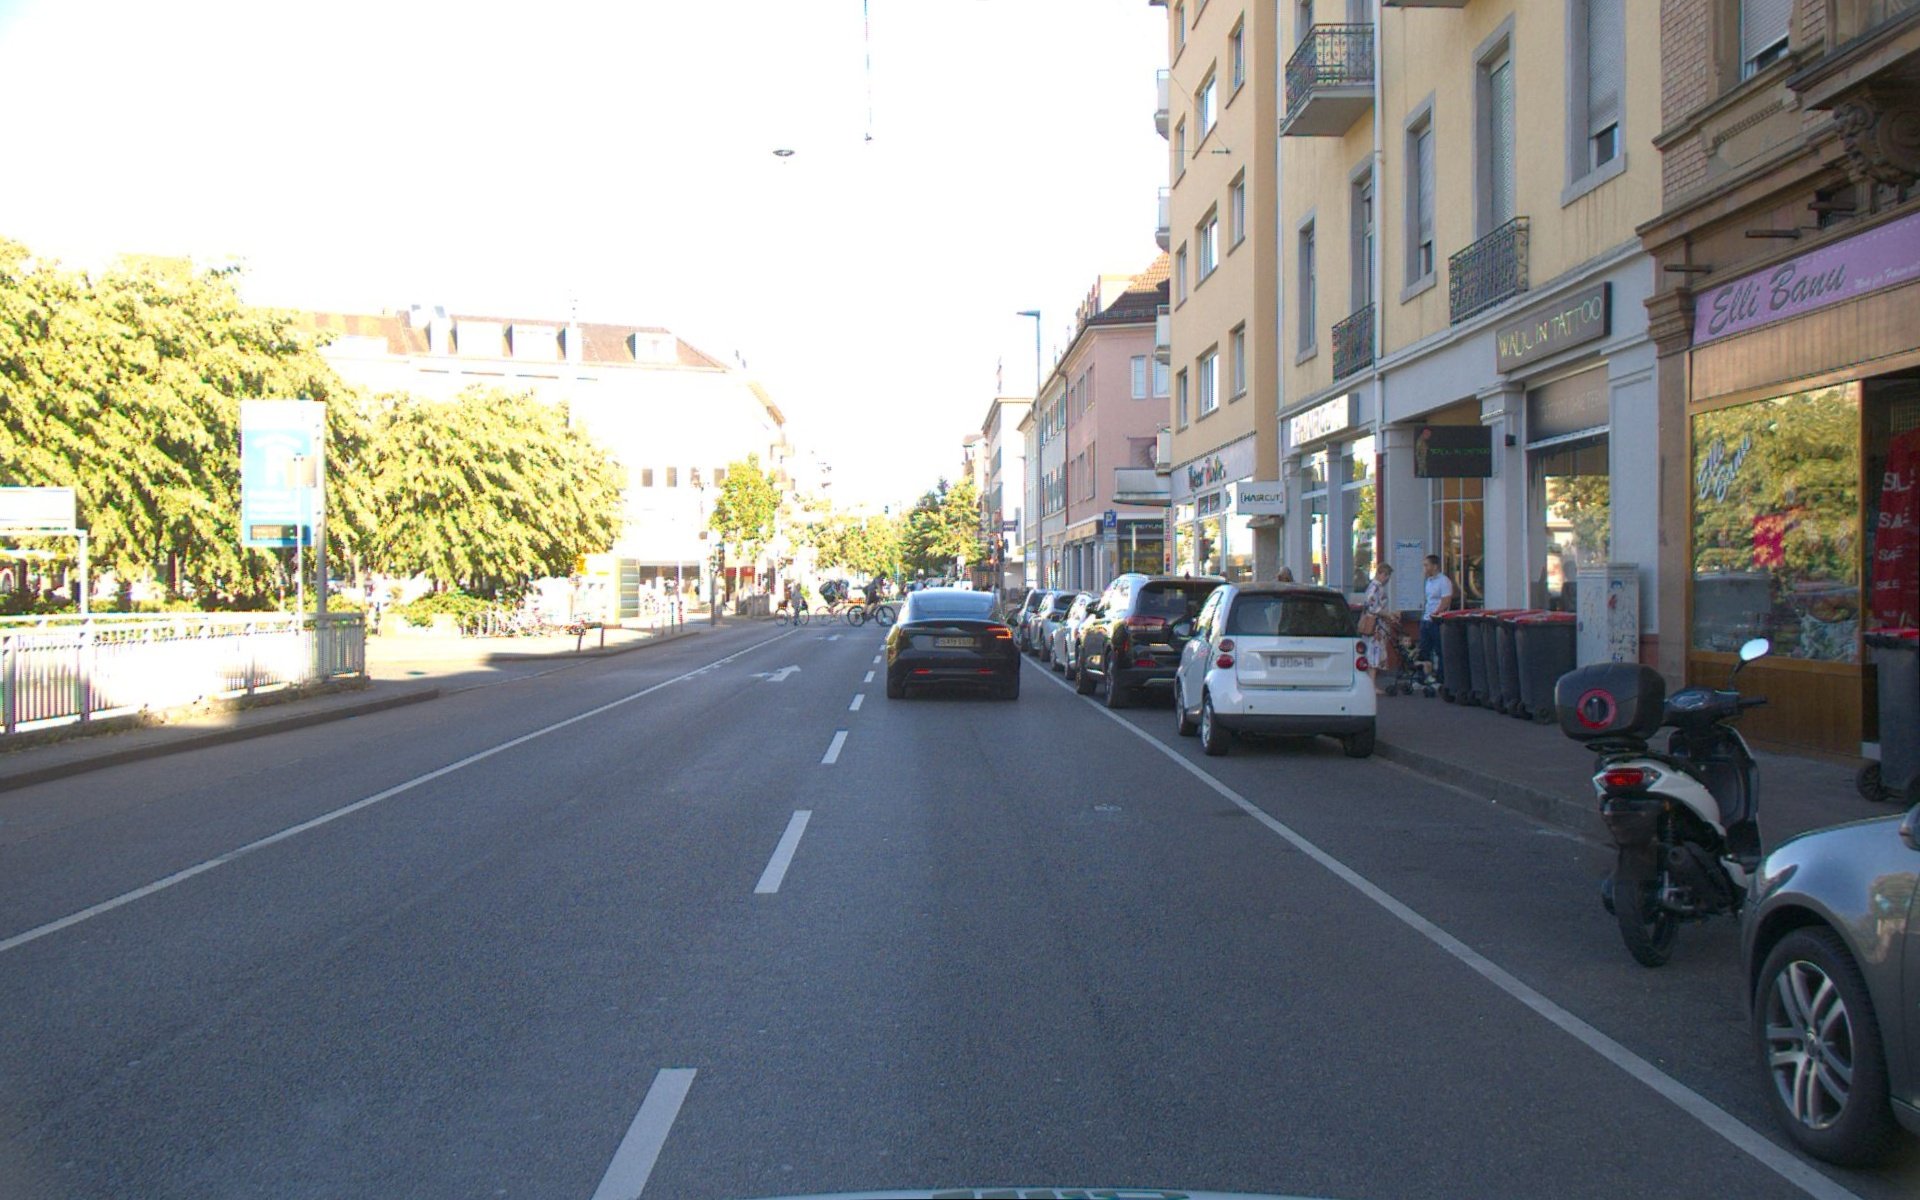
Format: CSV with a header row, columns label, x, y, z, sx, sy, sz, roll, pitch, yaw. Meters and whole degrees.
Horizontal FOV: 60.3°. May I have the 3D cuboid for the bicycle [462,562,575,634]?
label,x,y,z,sx,sy,sz,roll,pitch,yaw
bicycle,-12.836,-0.073,48.142,3.055,2.049,0.909,0,0,7

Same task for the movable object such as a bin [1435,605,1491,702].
label,x,y,z,sx,sy,sz,roll,pitch,yaw
movable object such as a bin,5.745,0.602,18.898,0.446,1.070,0.499,-2,1,-3

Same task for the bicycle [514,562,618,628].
label,x,y,z,sx,sy,sz,roll,pitch,yaw
bicycle,-12.452,-0.159,52.316,3.055,2.049,0.909,0,0,7

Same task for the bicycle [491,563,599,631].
label,x,y,z,sx,sy,sz,roll,pitch,yaw
bicycle,-12.585,-0.106,50.187,3.055,2.049,0.909,0,0,7

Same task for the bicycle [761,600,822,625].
label,x,y,z,sx,sy,sz,roll,pitch,yaw
bicycle,-6.354,0.471,62.439,2.197,0.898,0.924,0,0,2

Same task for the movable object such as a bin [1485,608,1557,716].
label,x,y,z,sx,sy,sz,roll,pitch,yaw
movable object such as a bin,5.819,0.635,17.179,0.485,1.070,0.631,-2,1,-3

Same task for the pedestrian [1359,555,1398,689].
label,x,y,z,sx,sy,sz,roll,pitch,yaw
pedestrian,5.265,0.270,20.823,0.460,1.664,0.514,0,0,14

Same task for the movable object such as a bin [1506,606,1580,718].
label,x,y,z,sx,sy,sz,roll,pitch,yaw
movable object such as a bin,5.816,0.605,16.508,0.469,1.070,0.631,-2,1,-3

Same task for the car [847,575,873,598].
label,x,y,z,sx,sy,sz,roll,pitch,yaw
car,-8.271,-1.111,136.835,1.953,1.802,4.000,1,1,0

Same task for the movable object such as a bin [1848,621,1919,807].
label,x,y,z,sx,sy,sz,roll,pitch,yaw
movable object such as a bin,6.130,0.694,10.398,0.631,1.094,0.819,-2,1,-1

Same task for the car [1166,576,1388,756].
label,x,y,z,sx,sy,sz,roll,pitch,yaw
car,3.006,0.567,16.196,1.580,1.573,2.855,1,1,-1

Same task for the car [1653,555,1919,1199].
label,x,y,z,sx,sy,sz,roll,pitch,yaw
car,3.255,0.707,3.322,1.802,1.573,4.227,1,1,-2

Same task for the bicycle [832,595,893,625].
label,x,y,z,sx,sy,sz,roll,pitch,yaw
bicycle,-3.352,0.336,56.854,1.969,1.040,0.888,0,0,4

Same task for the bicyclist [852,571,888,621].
label,x,y,z,sx,sy,sz,roll,pitch,yaw
bicyclist,-3.093,-0.135,56.831,1.122,1.715,0.919,0,0,5

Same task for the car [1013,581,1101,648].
label,x,y,z,sx,sy,sz,roll,pitch,yaw
car,2.245,0.337,39.174,1.756,1.485,3.867,1,0,-2

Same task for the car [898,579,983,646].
label,x,y,z,sx,sy,sz,roll,pitch,yaw
car,-0.436,0.250,39.333,1.895,1.513,4.271,0,1,0

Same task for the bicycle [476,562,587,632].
label,x,y,z,sx,sy,sz,roll,pitch,yaw
bicycle,-12.724,-0.095,49.137,3.055,2.049,0.909,0,0,7

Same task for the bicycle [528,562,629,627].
label,x,y,z,sx,sy,sz,roll,pitch,yaw
bicycle,-12.301,-0.184,53.360,3.055,2.049,0.909,0,0,7

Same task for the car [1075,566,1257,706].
label,x,y,z,sx,sy,sz,roll,pitch,yaw
car,2.637,0.451,22.012,1.682,1.664,4.081,1,0,-3

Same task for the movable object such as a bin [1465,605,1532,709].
label,x,y,z,sx,sy,sz,roll,pitch,yaw
movable object such as a bin,5.798,0.604,17.834,0.469,1.070,0.631,-2,1,-3

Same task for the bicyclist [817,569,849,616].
label,x,y,z,sx,sy,sz,roll,pitch,yaw
bicyclist,-4.594,-0.272,59.814,1.124,1.715,0.818,0,0,-5

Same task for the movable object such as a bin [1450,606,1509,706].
label,x,y,z,sx,sy,sz,roll,pitch,yaw
movable object such as a bin,5.771,0.614,18.384,0.469,1.070,0.467,-2,1,-3

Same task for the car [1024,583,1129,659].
label,x,y,z,sx,sy,sz,roll,pitch,yaw
car,2.394,0.437,34.795,1.756,1.485,3.866,1,0,-3

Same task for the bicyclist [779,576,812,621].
label,x,y,z,sx,sy,sz,roll,pitch,yaw
bicyclist,-6.200,-0.062,62.431,1.122,1.715,0.915,0,0,2

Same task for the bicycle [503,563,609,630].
label,x,y,z,sx,sy,sz,roll,pitch,yaw
bicycle,-12.514,-0.107,51.273,3.055,2.049,0.909,0,0,7

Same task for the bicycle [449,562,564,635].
label,x,y,z,sx,sy,sz,roll,pitch,yaw
bicycle,-12.924,-0.051,47.183,3.055,2.049,0.909,0,0,7

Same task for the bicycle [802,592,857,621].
label,x,y,z,sx,sy,sz,roll,pitch,yaw
bicycle,-4.709,0.245,59.811,1.972,1.040,0.761,0,0,-5

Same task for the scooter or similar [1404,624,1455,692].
label,x,y,z,sx,sy,sz,roll,pitch,yaw
scooter or similar,5.783,0.713,20.393,0.566,0.793,0.467,-2,0,14

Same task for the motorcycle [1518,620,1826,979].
label,x,y,z,sx,sy,sz,roll,pitch,yaw
motorcycle,3.238,0.787,7.405,0.645,1.351,2.031,0,1,42

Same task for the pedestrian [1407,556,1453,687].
label,x,y,z,sx,sy,sz,roll,pitch,yaw
pedestrian,6.028,0.265,21.240,0.460,1.664,0.513,0,0,3

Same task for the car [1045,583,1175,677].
label,x,y,z,sx,sy,sz,roll,pitch,yaw
car,2.507,0.491,28.555,1.756,1.485,4.083,1,0,-2

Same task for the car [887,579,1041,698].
label,x,y,z,sx,sy,sz,roll,pitch,yaw
car,-0.044,0.508,23.646,1.955,1.506,4.492,1,0,-3
